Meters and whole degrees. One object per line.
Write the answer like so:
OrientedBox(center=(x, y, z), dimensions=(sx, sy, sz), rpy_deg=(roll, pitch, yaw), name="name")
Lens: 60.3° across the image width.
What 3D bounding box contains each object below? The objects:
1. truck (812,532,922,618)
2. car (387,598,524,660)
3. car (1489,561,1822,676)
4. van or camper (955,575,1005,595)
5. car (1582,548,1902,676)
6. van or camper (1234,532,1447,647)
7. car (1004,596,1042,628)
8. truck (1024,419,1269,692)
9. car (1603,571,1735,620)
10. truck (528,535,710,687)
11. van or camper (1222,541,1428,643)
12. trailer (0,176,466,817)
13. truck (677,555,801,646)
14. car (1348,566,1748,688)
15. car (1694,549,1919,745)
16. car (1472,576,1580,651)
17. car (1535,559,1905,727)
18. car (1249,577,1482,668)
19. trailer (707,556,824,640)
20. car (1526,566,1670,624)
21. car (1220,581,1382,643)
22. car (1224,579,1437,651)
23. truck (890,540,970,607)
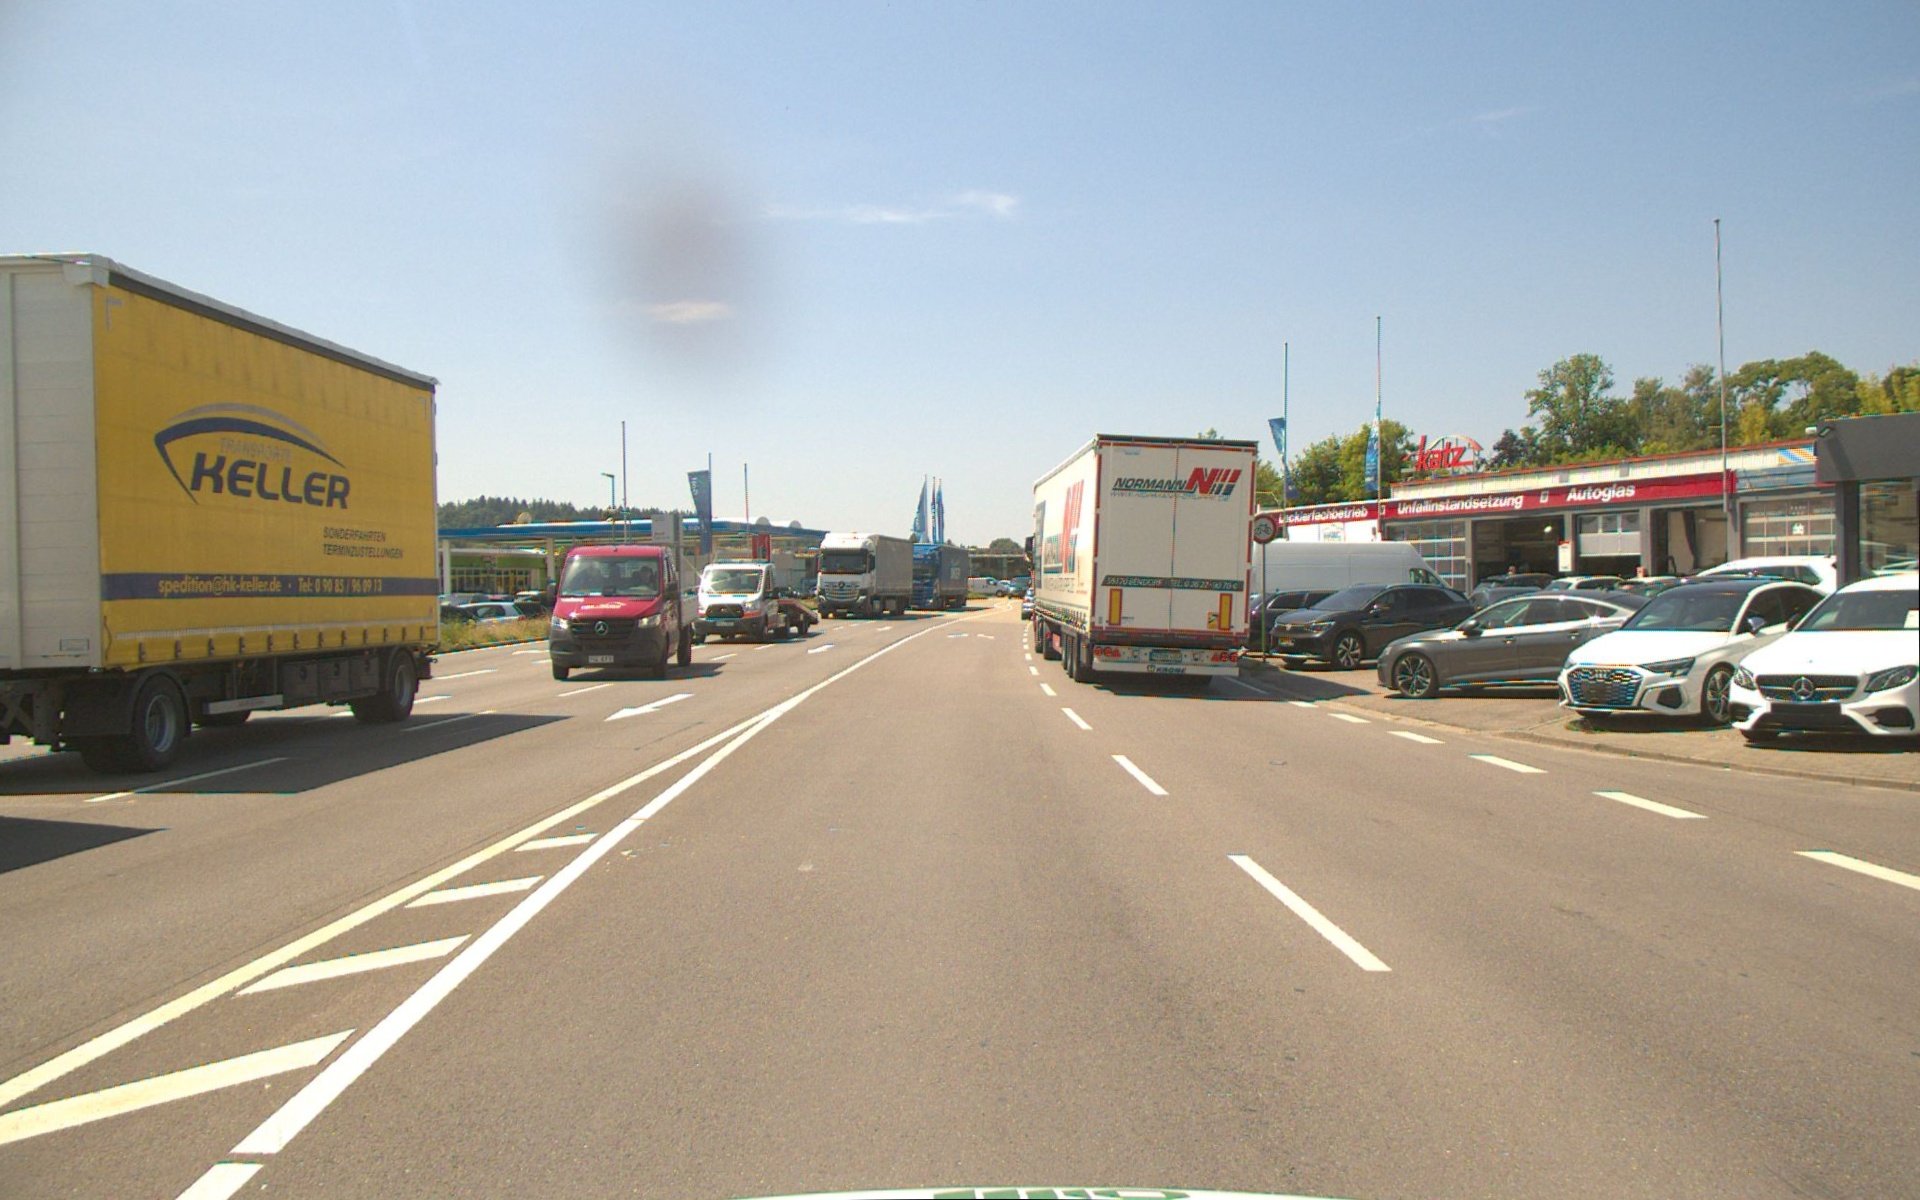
OrientedBox(center=(-4.493, -1.186, 84.870), dimensions=(2.731, 3.957, 16.495), rpy_deg=(1, 0, 7), name="truck")
OrientedBox(center=(-15.739, 0.859, 51.595), dimensions=(3.812, 1.780, 1.784), rpy_deg=(-1, 1, -28), name="car")
OrientedBox(center=(10.155, 0.295, 24.351), dimensions=(1.840, 1.445, 4.100), rpy_deg=(-3, -1, -43), name="car")
OrientedBox(center=(1.992, -1.469, 163.197), dimensions=(4.744, 1.938, 1.906), rpy_deg=(1, 0, 10), name="van or camper")
OrientedBox(center=(12.123, 0.216, 25.820), dimensions=(1.840, 1.744, 4.082), rpy_deg=(-3, -1, -43), name="car")
OrientedBox(center=(10.111, -0.283, 44.329), dimensions=(5.256, 2.956, 2.233), rpy_deg=(0, 1, 3), name="van or camper")
OrientedBox(center=(3.271, 0.627, 87.151), dimensions=(1.884, 1.638, 4.095), rpy_deg=(0, 0, 1), name="car")
OrientedBox(center=(3.208, -0.764, 34.253), dimensions=(2.912, 4.165, 17.633), rpy_deg=(1, 1, 0), name="truck")
OrientedBox(center=(21.627, -0.138, 50.445), dimensions=(3.535, 1.398, 1.668), rpy_deg=(1, 1, -20), name="car")
OrientedBox(center=(-6.173, 0.169, 30.873), dimensions=(2.349, 2.487, 6.867), rpy_deg=(1, 0, -4), name="truck")
OrientedBox(center=(10.219, -0.240, 46.664), dimensions=(5.361, 2.777, 2.233), rpy_deg=(0, 1, 3), name="van or camper")
OrientedBox(center=(-7.864, -0.717, 15.710), dimensions=(2.949, 4.361, 10.061), rpy_deg=(-2, 0, 2), name="trailer")
OrientedBox(center=(-6.285, -0.020, 47.803), dimensions=(2.374, 2.381, 5.678), rpy_deg=(-2, 1, 4), name="truck")
OrientedBox(center=(8.005, 0.412, 22.908), dimensions=(1.913, 1.411, 4.856), rpy_deg=(-3, -1, -43), name="car")
OrientedBox(center=(9.569, 0.351, 16.793), dimensions=(4.695, 1.579, 1.972), rpy_deg=(-5, 2, -40), name="car")
OrientedBox(center=(12.751, 0.257, 37.476), dimensions=(1.771, 1.554, 4.386), rpy_deg=(-1, 0, 12), name="car")
OrientedBox(center=(8.875, 0.422, 19.199), dimensions=(4.420, 1.433, 1.727), rpy_deg=(-6, 3, -32), name="car")
OrientedBox(center=(8.187, 0.414, 33.348), dimensions=(4.274, 1.653, 2.044), rpy_deg=(-2, 1, -27), name="car")
OrientedBox(center=(-6.006, -0.080, 52.089), dimensions=(2.377, 2.379, 6.900), rpy_deg=(-2, 0, 4), name="trailer")
OrientedBox(center=(20.342, -0.182, 52.793), dimensions=(3.920, 1.601, 1.849), rpy_deg=(-3, 1, -14), name="car")
OrientedBox(center=(8.661, 0.297, 42.232), dimensions=(3.731, 1.525, 1.854), rpy_deg=(0, 1, -1), name="car")
OrientedBox(center=(8.146, 0.313, 36.627), dimensions=(4.238, 1.525, 2.081), rpy_deg=(0, 1, -2), name="car")
OrientedBox(center=(-1.771, -1.616, 107.888), dimensions=(2.783, 3.957, 17.018), rpy_deg=(1, 0, 7), name="truck")
